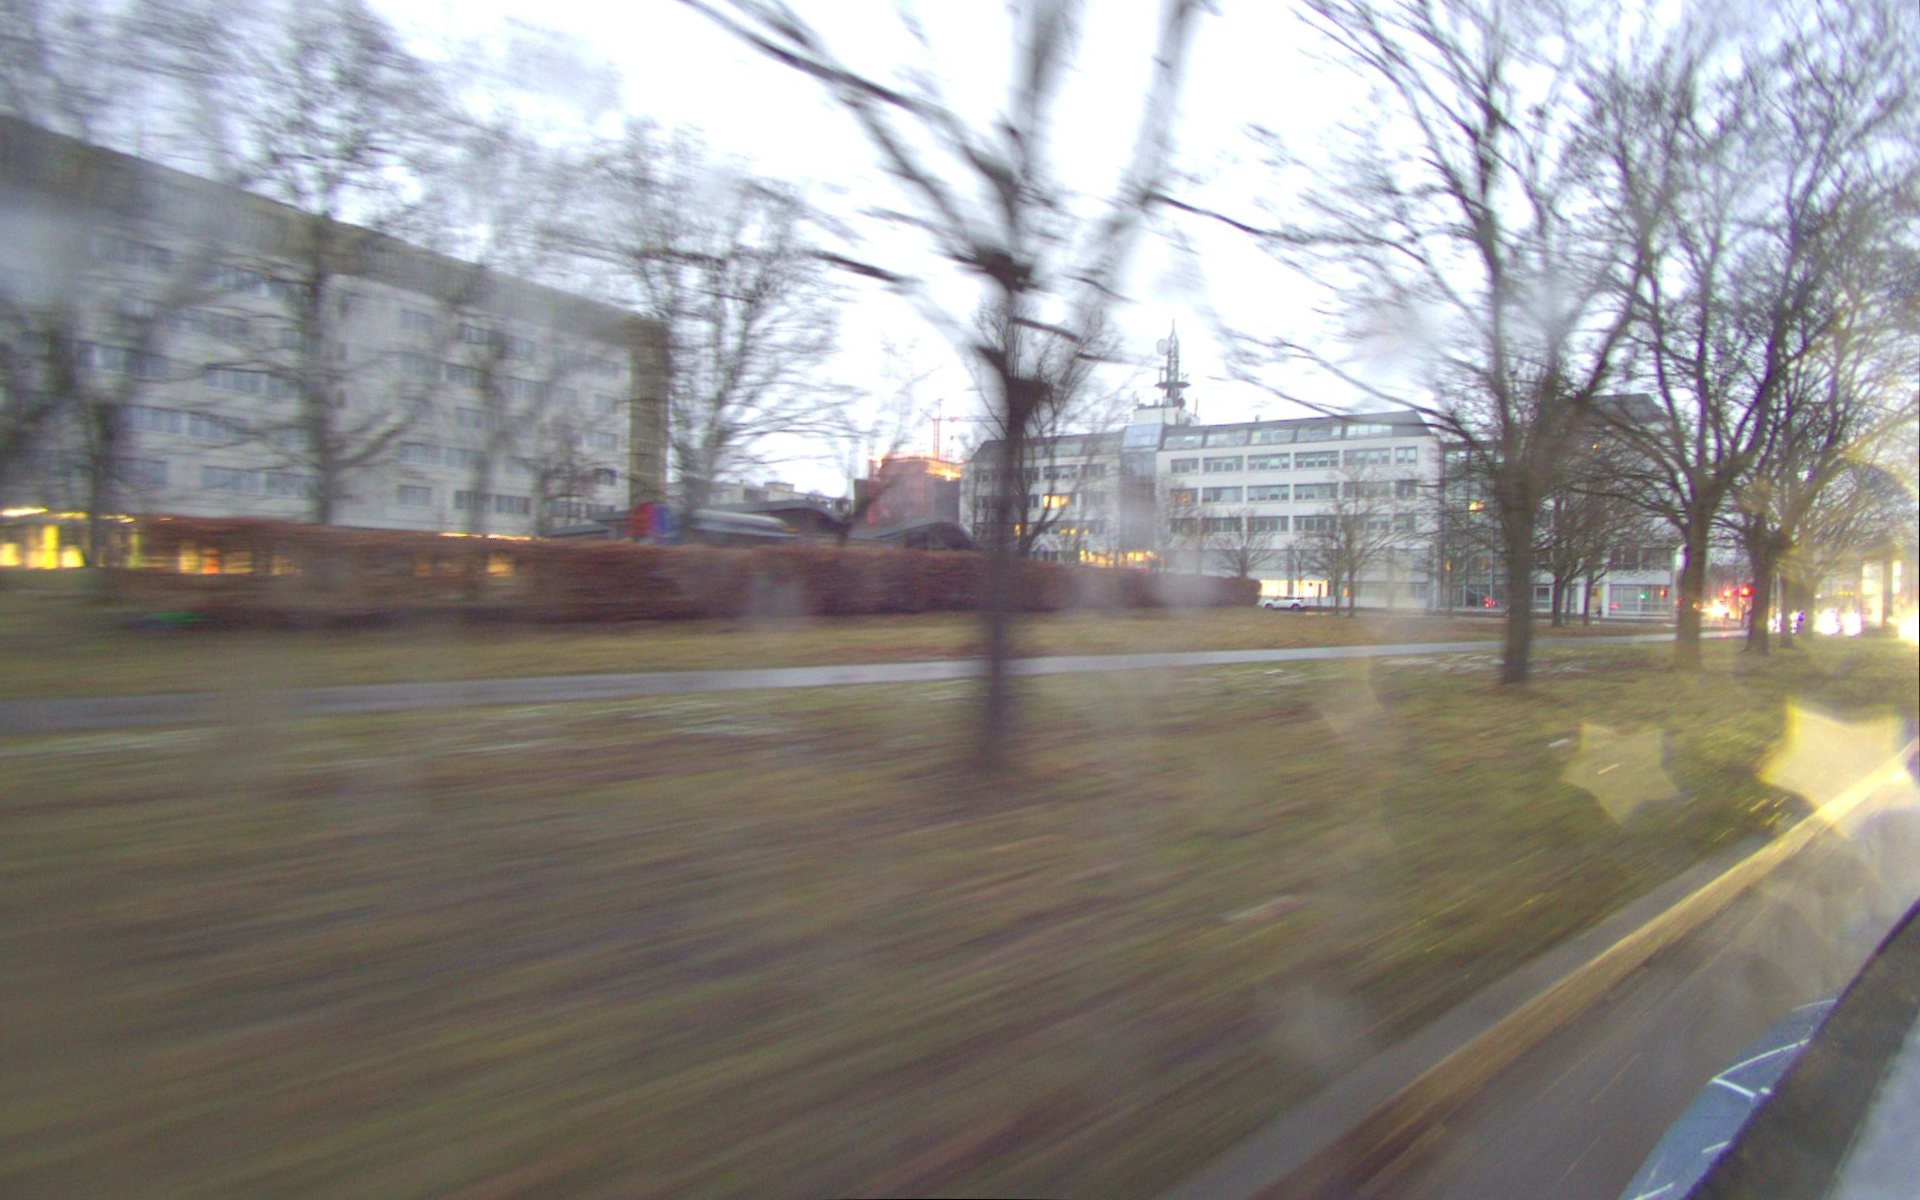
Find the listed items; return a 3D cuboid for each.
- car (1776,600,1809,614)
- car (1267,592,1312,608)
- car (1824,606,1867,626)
[{"bbox_3d":[82.936,0.708,100.884,1.985,1.340,3.954,2,1,32],"label":"car"},{"bbox_3d":[33.796,-0.001,103.902,4.129,1.456,1.884,2,0,30],"label":"car"},{"bbox_3d":[69.607,1.244,79.640,1.937,1.575,4.166,-1,-1,33],"label":"car"}]
